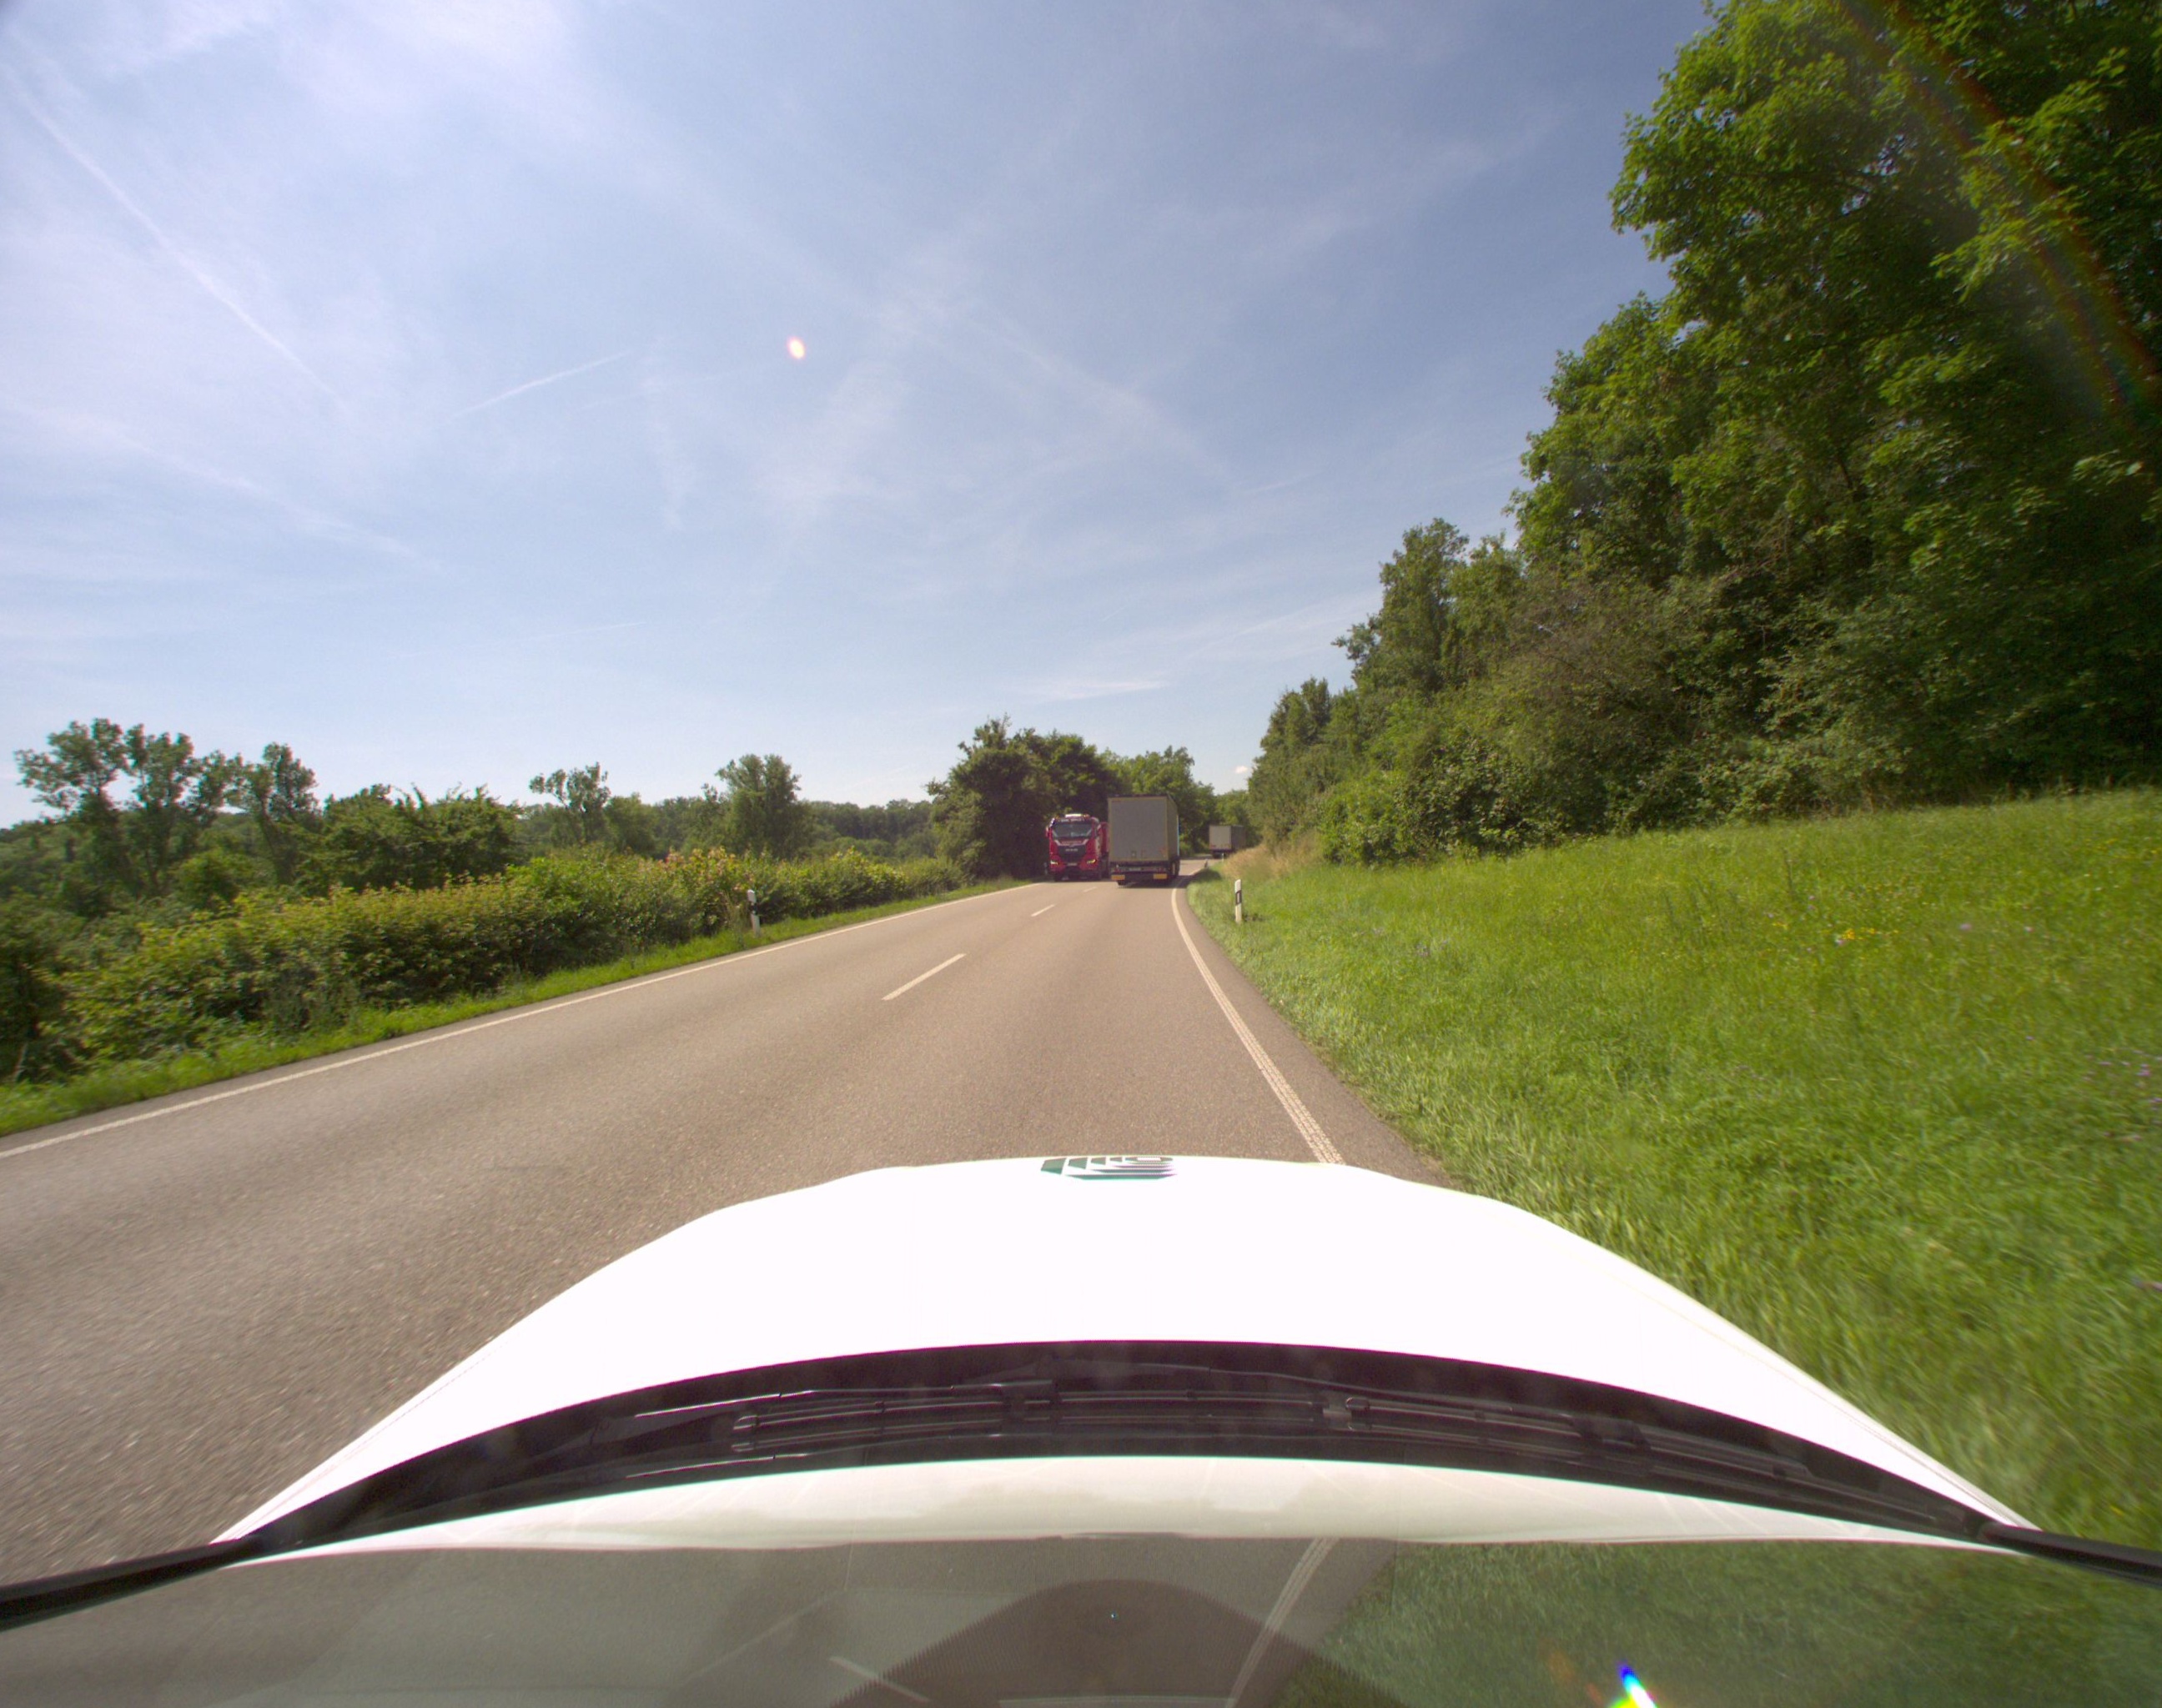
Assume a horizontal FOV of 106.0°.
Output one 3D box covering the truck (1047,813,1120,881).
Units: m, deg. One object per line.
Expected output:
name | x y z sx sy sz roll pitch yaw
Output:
truck | 0.401 -0.392 48.538 2.538 3.452 12.663 -2 0 8

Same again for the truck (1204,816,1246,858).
truck | 18.192 -2.206 101.762 3.081 4.705 16.664 -2 1 17

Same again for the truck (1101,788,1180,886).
truck | 3.421 -0.757 41.917 2.785 4.068 15.363 -1 0 9
